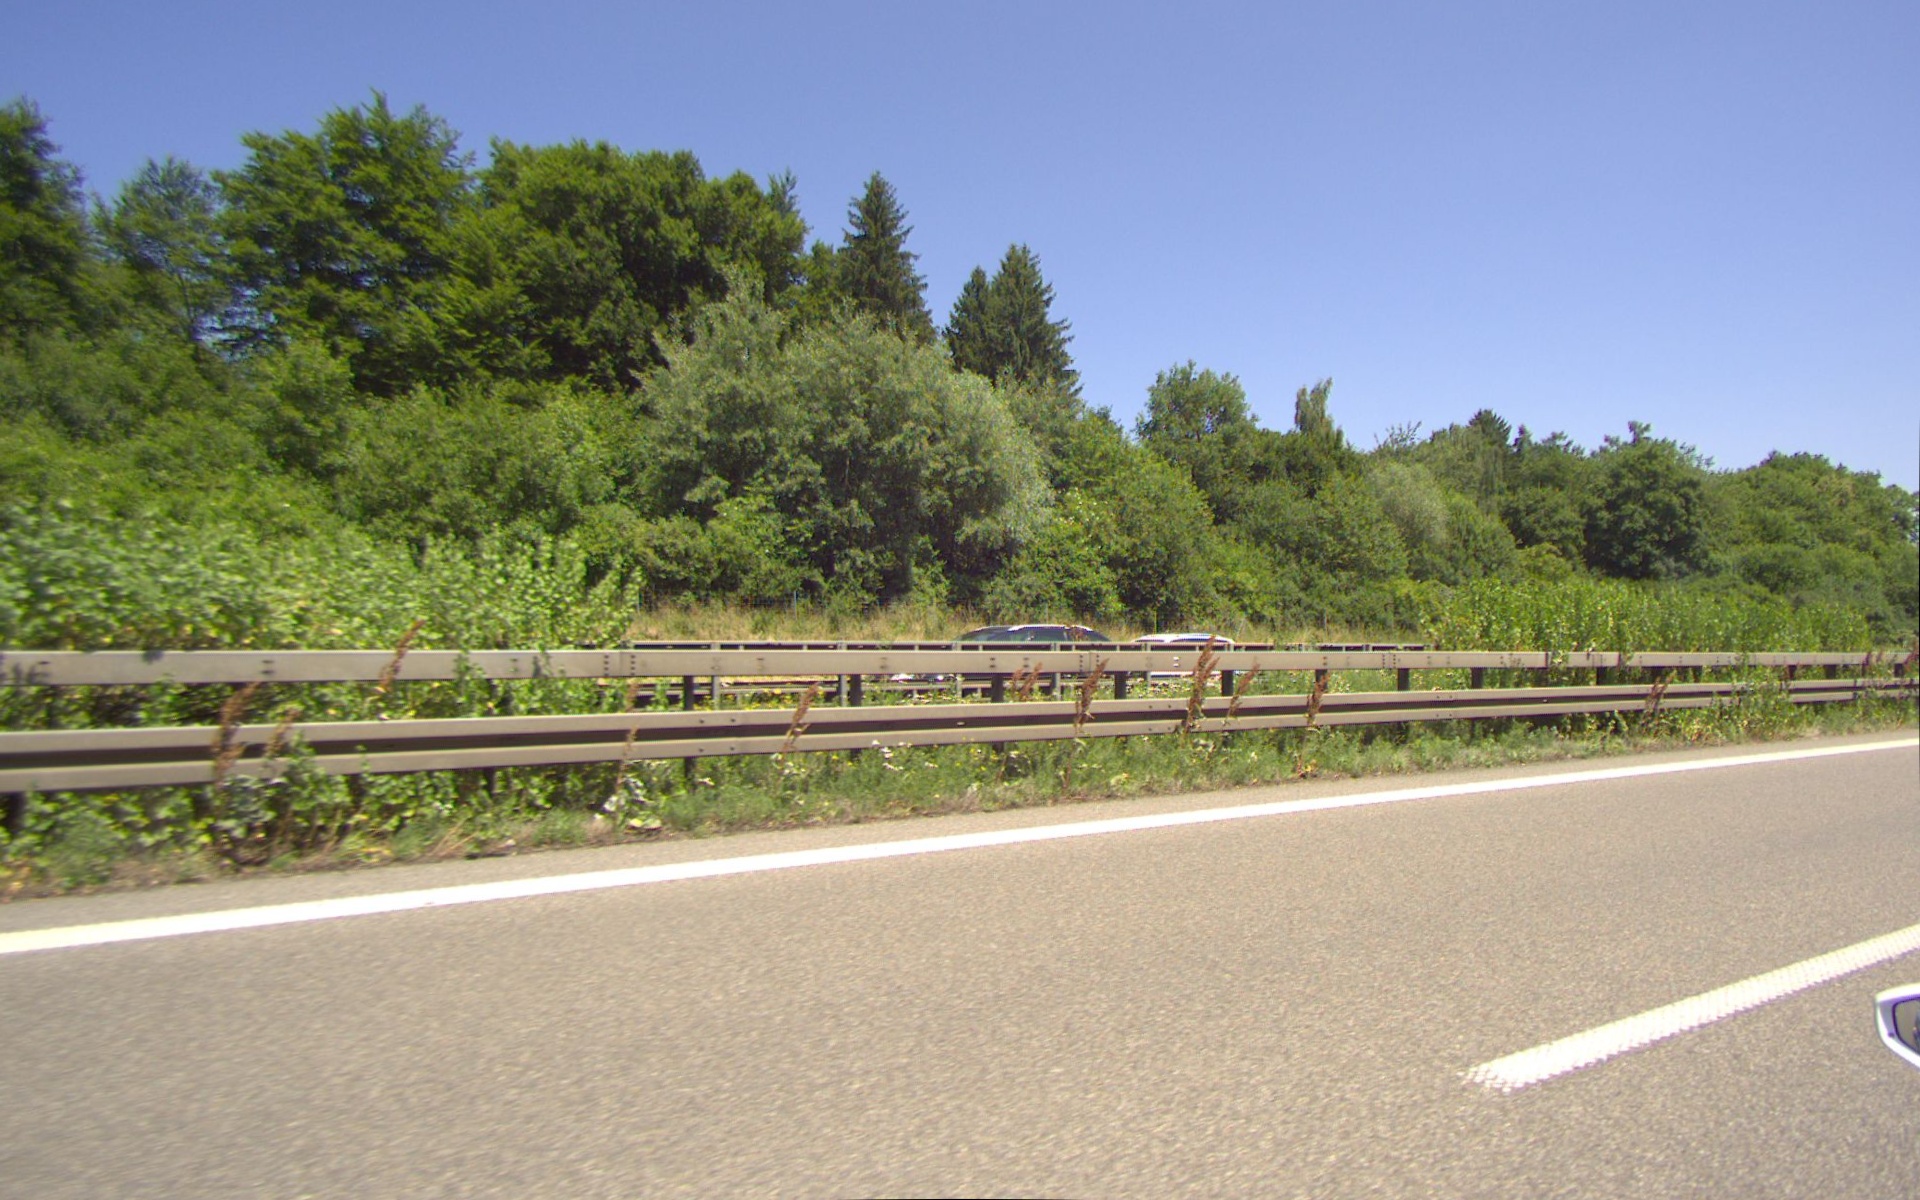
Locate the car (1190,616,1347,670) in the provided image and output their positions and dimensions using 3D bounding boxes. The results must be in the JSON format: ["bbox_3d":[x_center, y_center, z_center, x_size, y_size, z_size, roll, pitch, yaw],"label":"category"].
[{"bbox_3d":[7.679,1.042,24.943,3.742,1.222,1.648,1,0,-30],"label":"car"}]

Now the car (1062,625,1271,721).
[{"bbox_3d":[3.653,1.229,17.665,3.443,1.498,1.542,1,0,-30],"label":"car"}]
